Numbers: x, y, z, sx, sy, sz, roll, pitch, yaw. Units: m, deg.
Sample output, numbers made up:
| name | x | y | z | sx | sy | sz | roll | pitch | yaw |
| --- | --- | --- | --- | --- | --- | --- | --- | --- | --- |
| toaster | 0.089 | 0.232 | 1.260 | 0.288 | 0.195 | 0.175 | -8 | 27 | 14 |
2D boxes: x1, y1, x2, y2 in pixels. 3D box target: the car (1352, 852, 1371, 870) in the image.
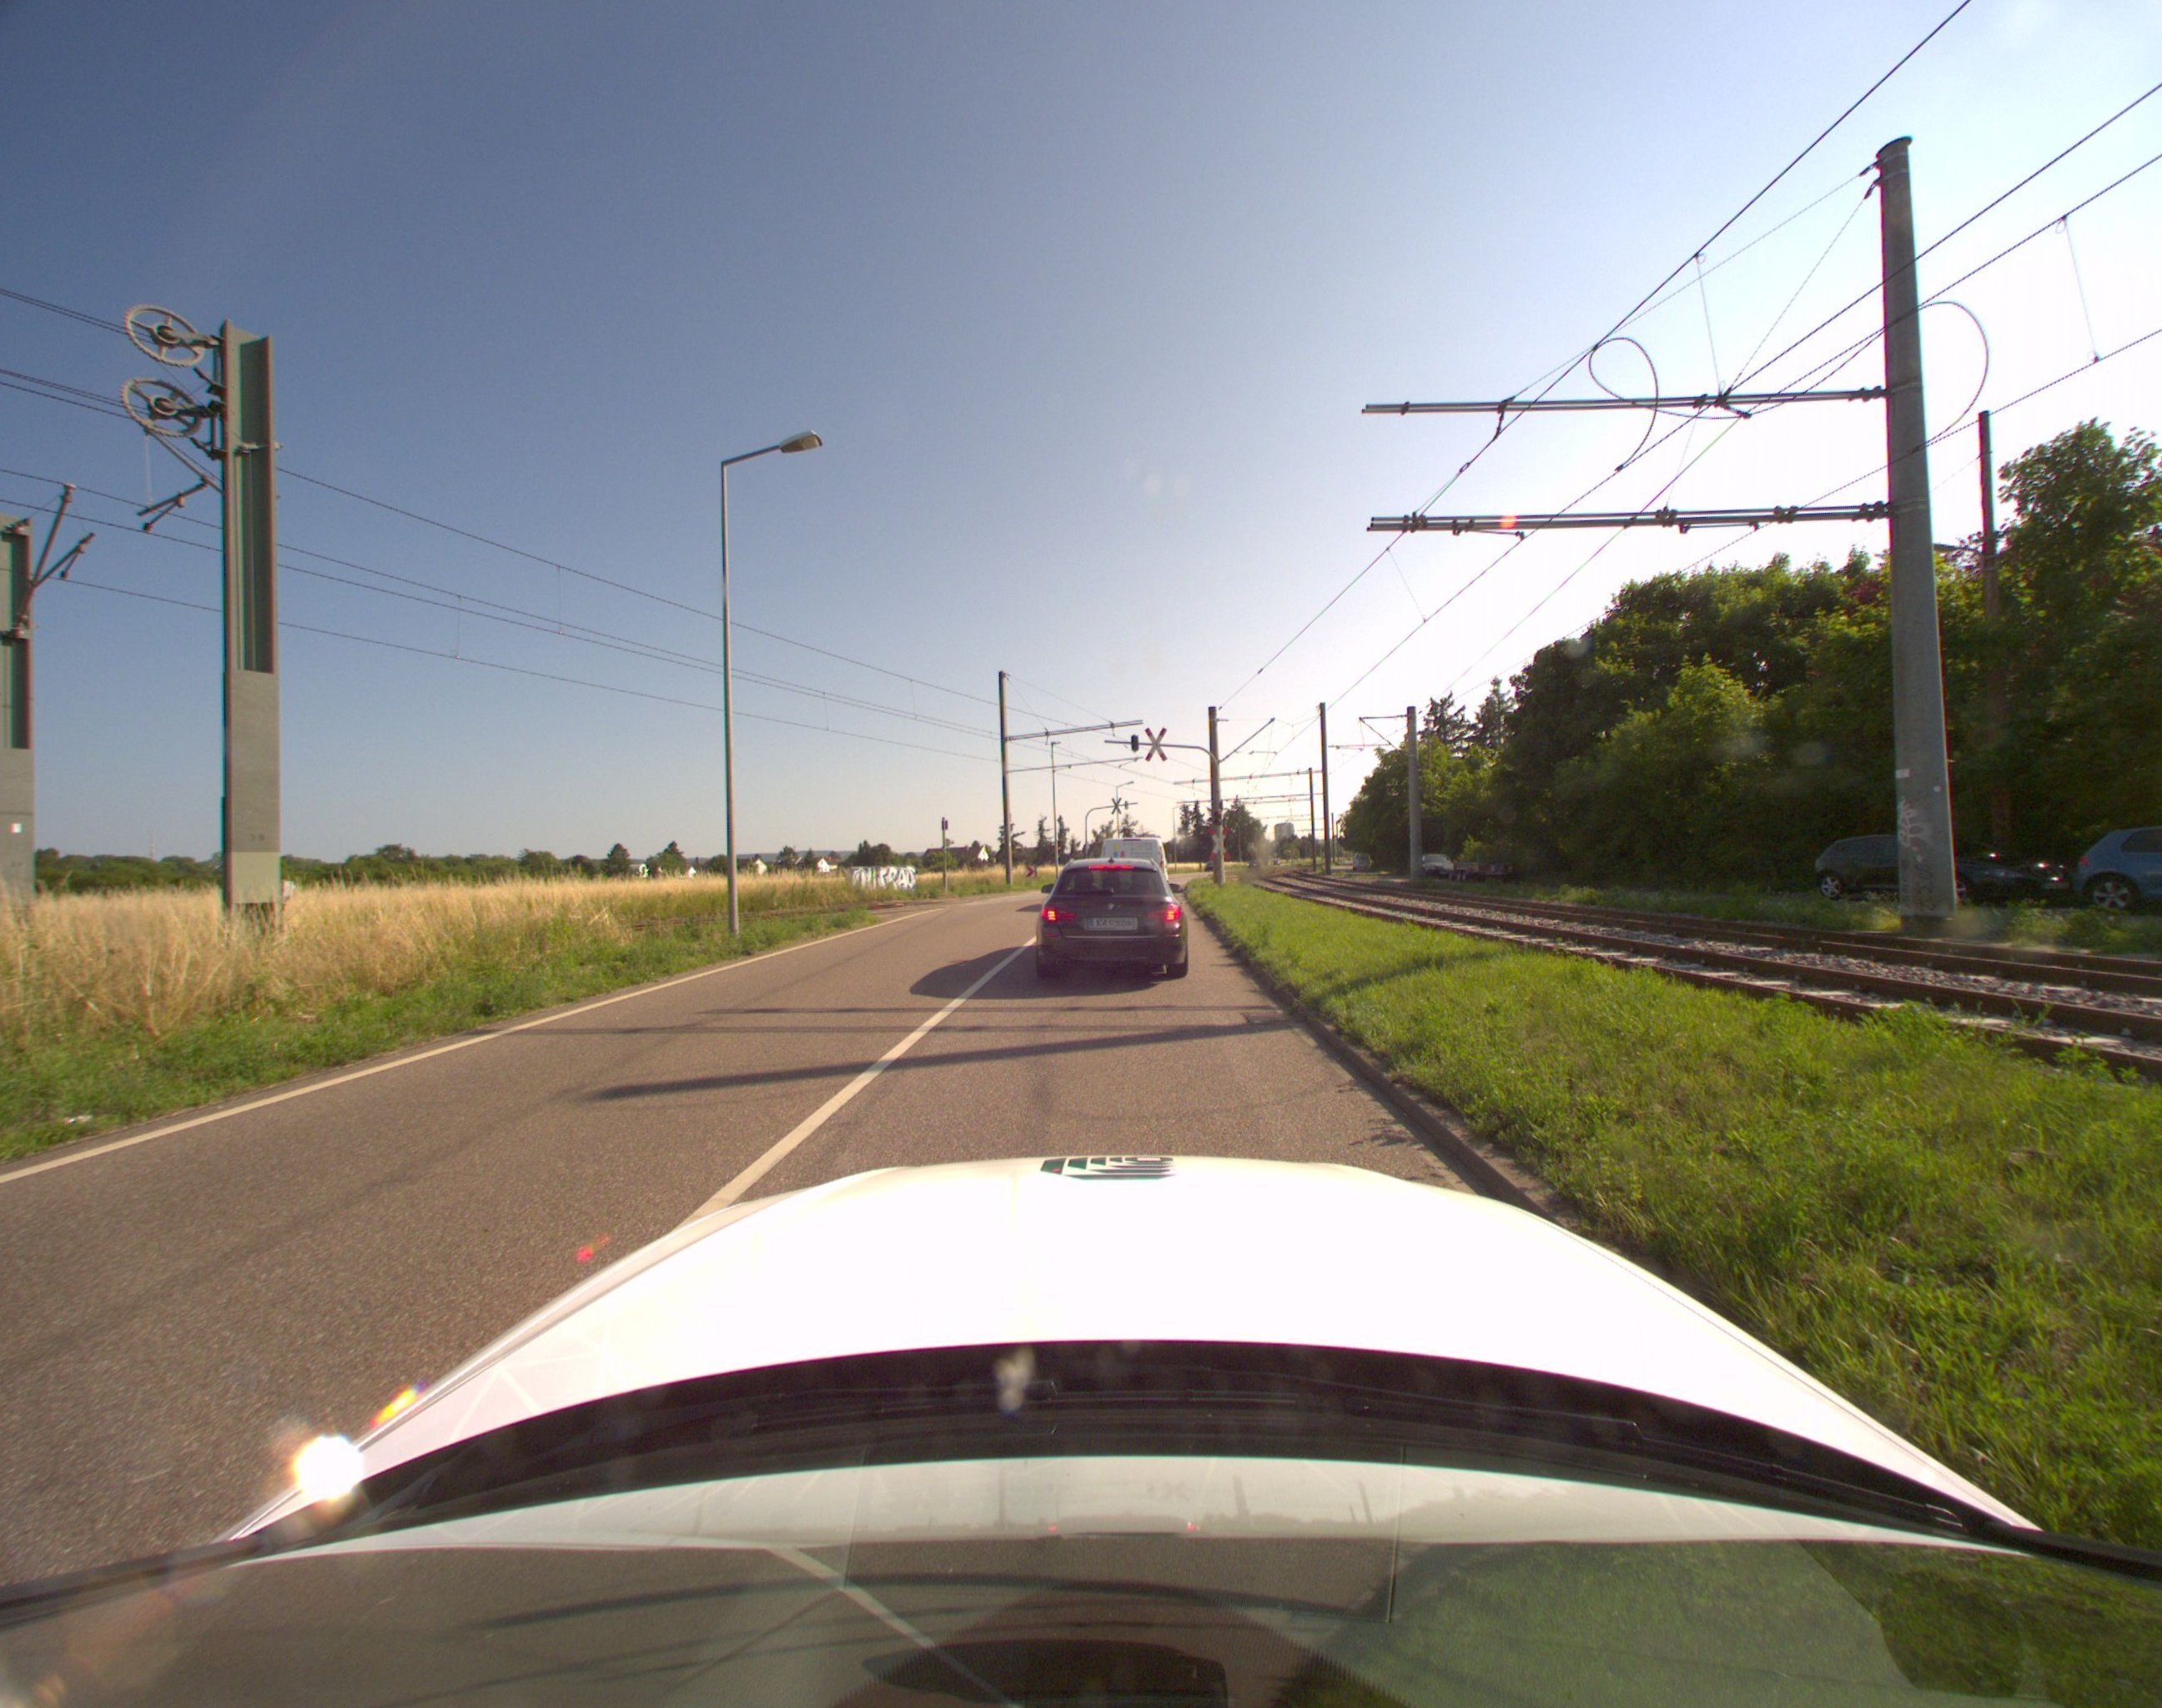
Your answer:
| name | x | y | z | sx | sy | sz | roll | pitch | yaw |
| --- | --- | --- | --- | --- | --- | --- | --- | --- | --- |
| car | 32.462 | 0.819 | 94.409 | 1.978 | 2.004 | 5.090 | 1 | 0 | 18 |

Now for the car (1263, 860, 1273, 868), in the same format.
| name | x | y | z | sx | sy | sz | roll | pitch | yaw |
| --- | --- | --- | --- | --- | --- | --- | --- | --- | --- |
| car | 42.866 | 2.249 | 186.813 | 1.693 | 1.665 | 4.611 | -2 | -1 | 18 |

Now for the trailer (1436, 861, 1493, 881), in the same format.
| name | x | y | z | sx | sy | sz | roll | pitch | yaw |
| --- | --- | --- | --- | --- | --- | --- | --- | --- | --- |
| trailer | 19.778 | 0.842 | 42.101 | 1.721 | 0.939 | 3.738 | 1 | 0 | 9 |

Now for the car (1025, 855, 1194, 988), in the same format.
| name | x | y | z | sx | sy | sz | roll | pitch | yaw |
| --- | --- | --- | --- | --- | --- | --- | --- | --- | --- |
| car | 0.399 | 0.754 | 11.456 | 1.862 | 1.452 | 4.746 | -1 | 0 | 2 |

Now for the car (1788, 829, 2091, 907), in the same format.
| name | x | y | z | sx | sy | sz | roll | pitch | yaw |
| --- | --- | --- | --- | --- | --- | --- | --- | --- | --- |
| car | 17.545 | 0.282 | 17.038 | 1.617 | 1.410 | 4.522 | 0 | -1 | 1 |

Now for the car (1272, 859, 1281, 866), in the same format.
| name | x | y | z | sx | sy | sz | roll | pitch | yaw |
| --- | --- | --- | --- | --- | --- | --- | --- | --- | --- |
| car | 49.110 | 2.184 | 204.934 | 1.698 | 1.549 | 3.948 | -2 | -1 | 20 |

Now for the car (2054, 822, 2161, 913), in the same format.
| name | x | y | z | sx | sy | sz | roll | pitch | yaw |
| --- | --- | --- | --- | --- | --- | --- | --- | --- | --- |
| car | 17.446 | 0.177 | 11.869 | 1.481 | 1.401 | 4.147 | -2 | -1 | -2 |

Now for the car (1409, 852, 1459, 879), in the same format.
| name | x | y | z | sx | sy | sz | roll | pitch | yaw |
| --- | --- | --- | --- | --- | --- | --- | --- | --- | --- |
| car | 20.252 | 0.629 | 46.863 | 1.687 | 1.456 | 4.896 | 1 | 0 | 12 |

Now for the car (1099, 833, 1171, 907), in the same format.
| name | x | y | z | sx | sy | sz | roll | pitch | yaw |
| --- | --- | --- | --- | --- | --- | --- | --- | --- | --- |
| car | 1.737 | 0.468 | 24.769 | 1.847 | 1.988 | 5.118 | -1 | -1 | 7 |

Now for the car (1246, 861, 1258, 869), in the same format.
| name | x | y | z | sx | sy | sz | roll | pitch | yaw |
| --- | --- | --- | --- | --- | --- | --- | --- | --- | --- |
| car | 33.506 | 2.160 | 159.467 | 1.679 | 1.439 | 4.303 | -1 | -1 | 18 |

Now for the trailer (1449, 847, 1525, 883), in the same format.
| name | x | y | z | sx | sy | sz | roll | pitch | yaw |
| --- | --- | --- | --- | --- | --- | --- | --- | --- | --- |
| trailer | 18.910 | 0.506 | 38.136 | 2.015 | 1.596 | 4.270 | 1 | -1 | 9 |
